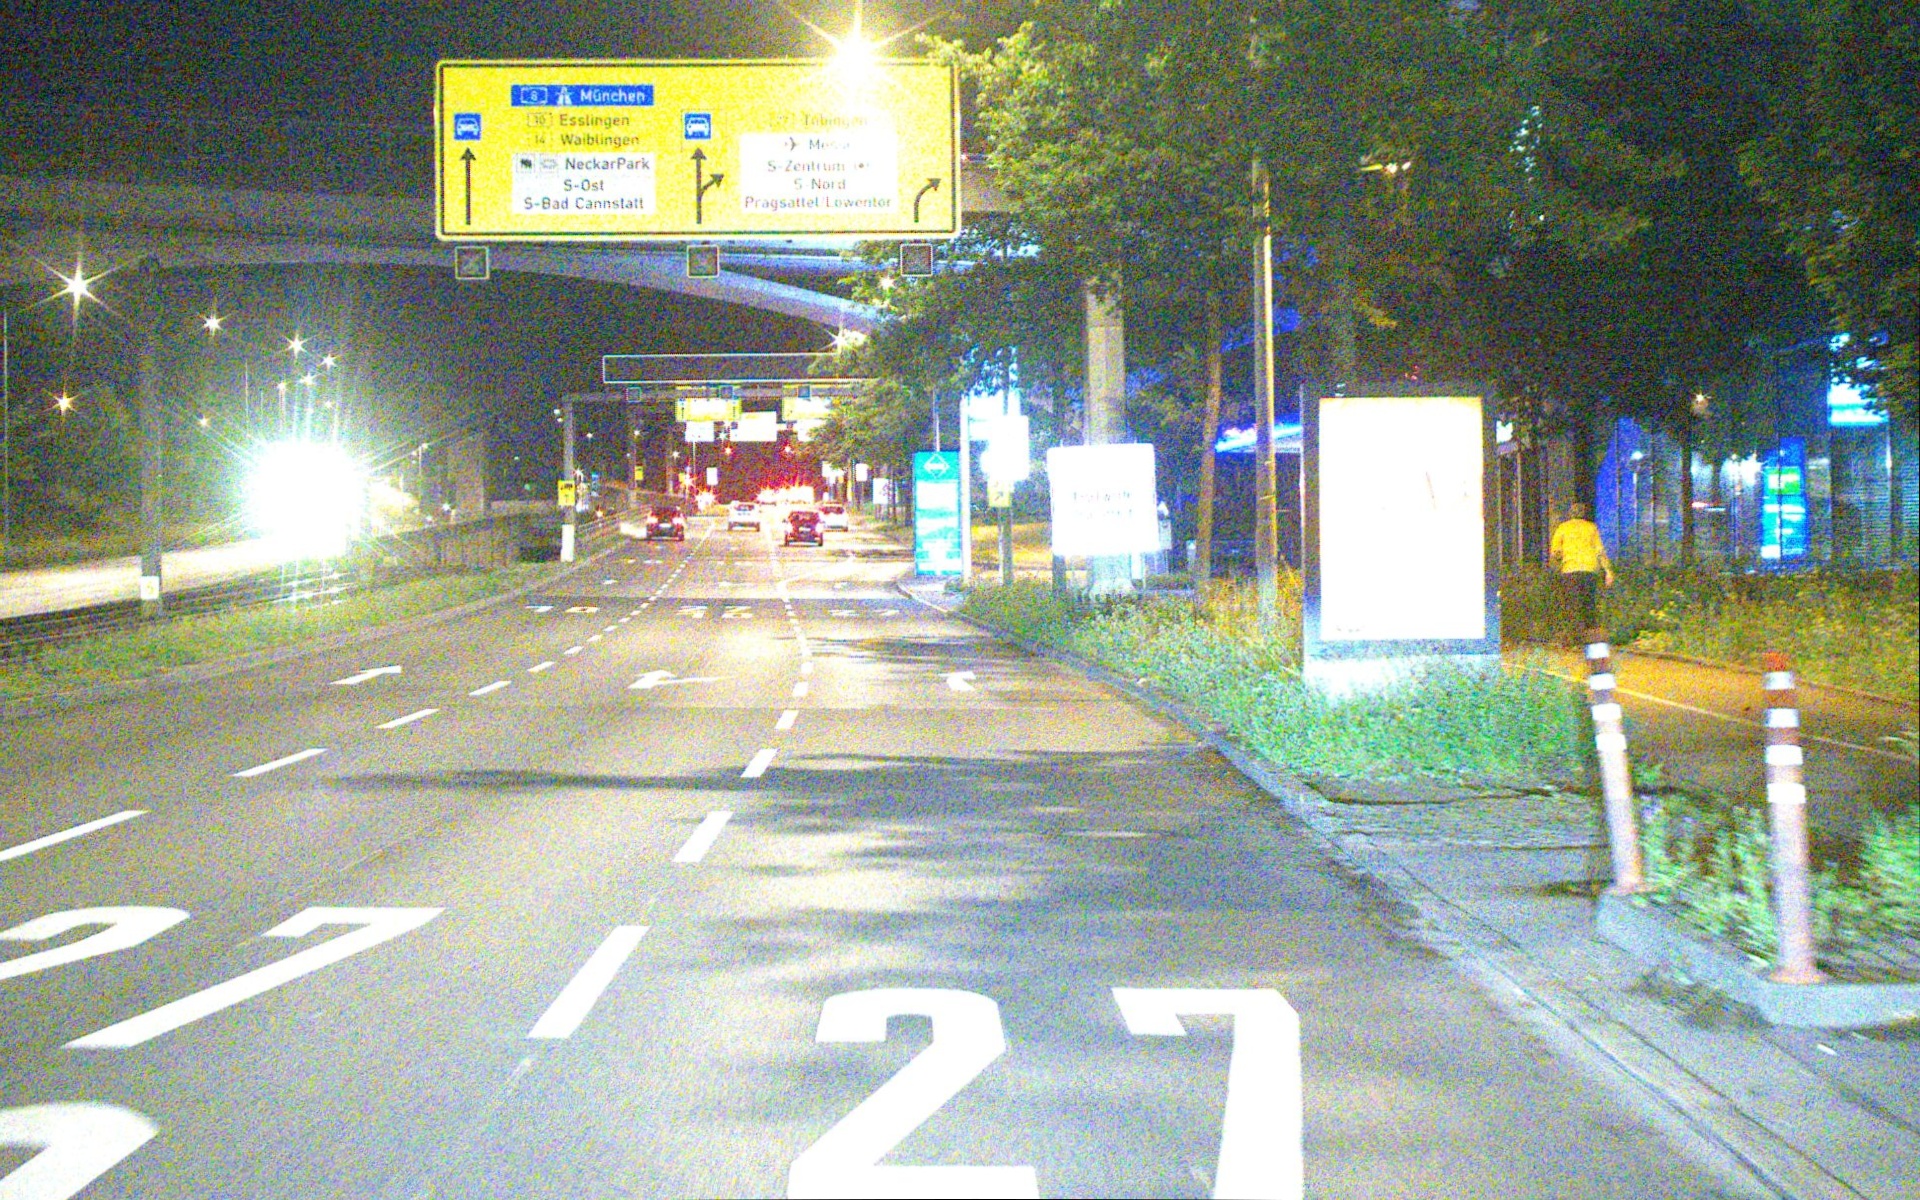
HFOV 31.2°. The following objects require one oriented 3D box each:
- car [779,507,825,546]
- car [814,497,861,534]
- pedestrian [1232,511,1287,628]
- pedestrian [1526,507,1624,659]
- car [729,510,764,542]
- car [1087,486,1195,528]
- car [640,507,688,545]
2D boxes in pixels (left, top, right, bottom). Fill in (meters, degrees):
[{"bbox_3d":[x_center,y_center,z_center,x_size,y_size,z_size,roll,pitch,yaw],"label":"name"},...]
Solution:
[{"bbox_3d":[-7.210,-3.363,157.452,1.968,1.705,4.000,1,0,-1],"label":"car"},{"bbox_3d":[-7.107,-4.878,199.886,2.651,2.007,5.299,1,0,-1],"label":"car"},{"bbox_3d":[5.001,-0.511,57.302,0.805,1.906,0.793,-3,1,7],"label":"pedestrian"},{"bbox_3d":[7.077,-0.196,39.617,0.852,1.701,0.957,3,0,-2],"label":"pedestrian"},{"bbox_3d":[-12.007,-4.158,193.232,1.782,1.705,4.000,1,0,-1],"label":"car"},{"bbox_3d":[7.228,-3.718,137.654,4.119,1.517,1.822,-2,0,-2],"label":"car"},{"bbox_3d":[-14.071,-3.501,163.422,1.968,1.705,4.000,1,0,-1],"label":"car"}]
